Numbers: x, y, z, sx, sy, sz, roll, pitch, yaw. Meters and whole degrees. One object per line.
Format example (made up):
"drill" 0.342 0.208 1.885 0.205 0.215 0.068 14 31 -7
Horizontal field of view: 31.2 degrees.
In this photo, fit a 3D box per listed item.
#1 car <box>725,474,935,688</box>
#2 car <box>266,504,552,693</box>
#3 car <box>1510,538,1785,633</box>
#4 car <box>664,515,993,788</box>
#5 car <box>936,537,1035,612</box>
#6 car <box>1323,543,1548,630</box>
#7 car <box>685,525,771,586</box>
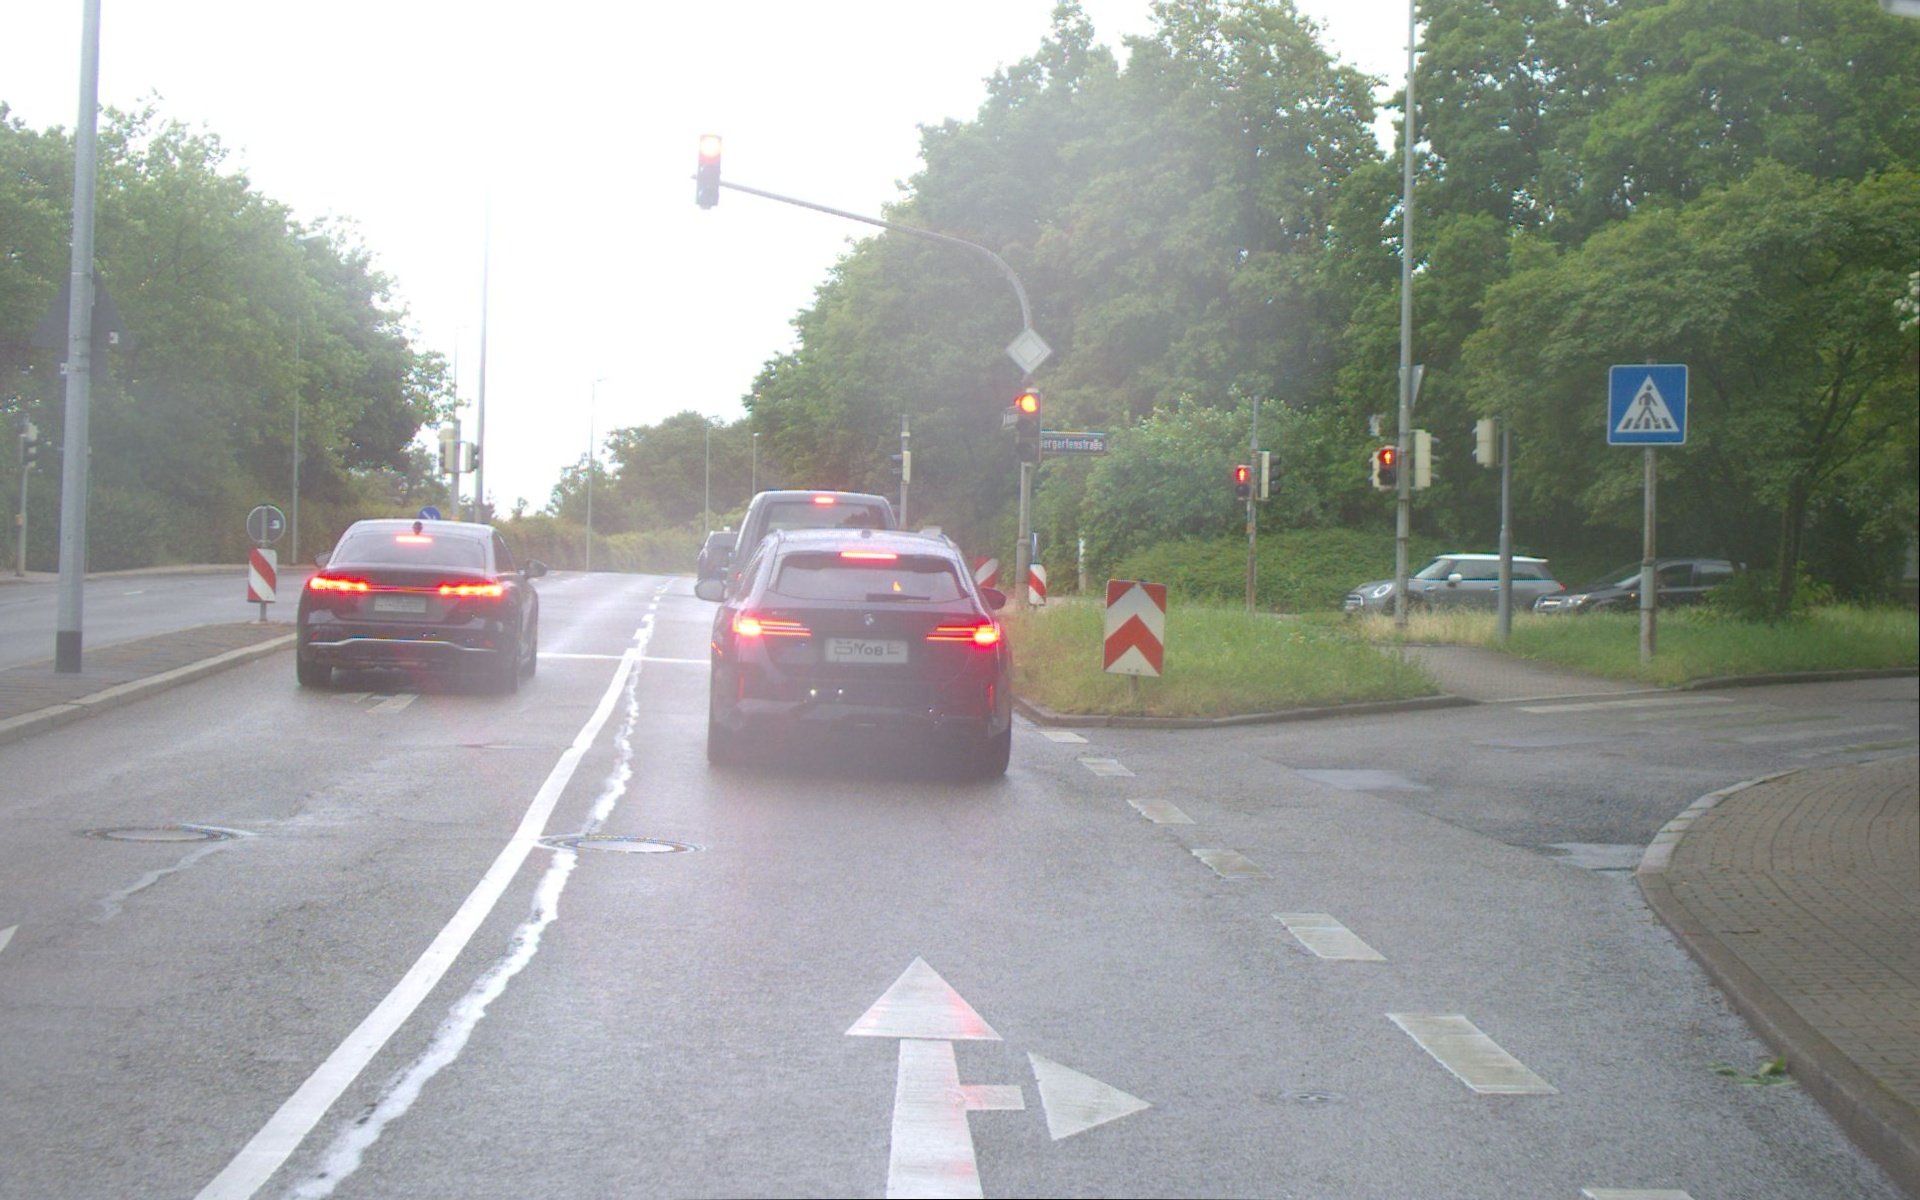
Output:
"car" -1.273 -0.201 33.191 1.818 1.862 3.953 3 1 -3
"car" -4.718 -0.047 29.994 1.993 1.522 4.328 0 1 -3
"car" 11.258 -0.253 56.402 3.986 1.504 1.902 0 1 -9
"car" -0.776 0.297 22.891 1.898 1.546 4.615 3 0 0
"car" 0.500 -0.554 72.385 1.873 1.537 3.953 0 1 -3
"car" 8.232 -0.223 59.633 3.501 1.422 1.703 -1 -1 -9
"car" -6.229 -1.199 92.025 1.993 1.618 3.953 0 1 -8
